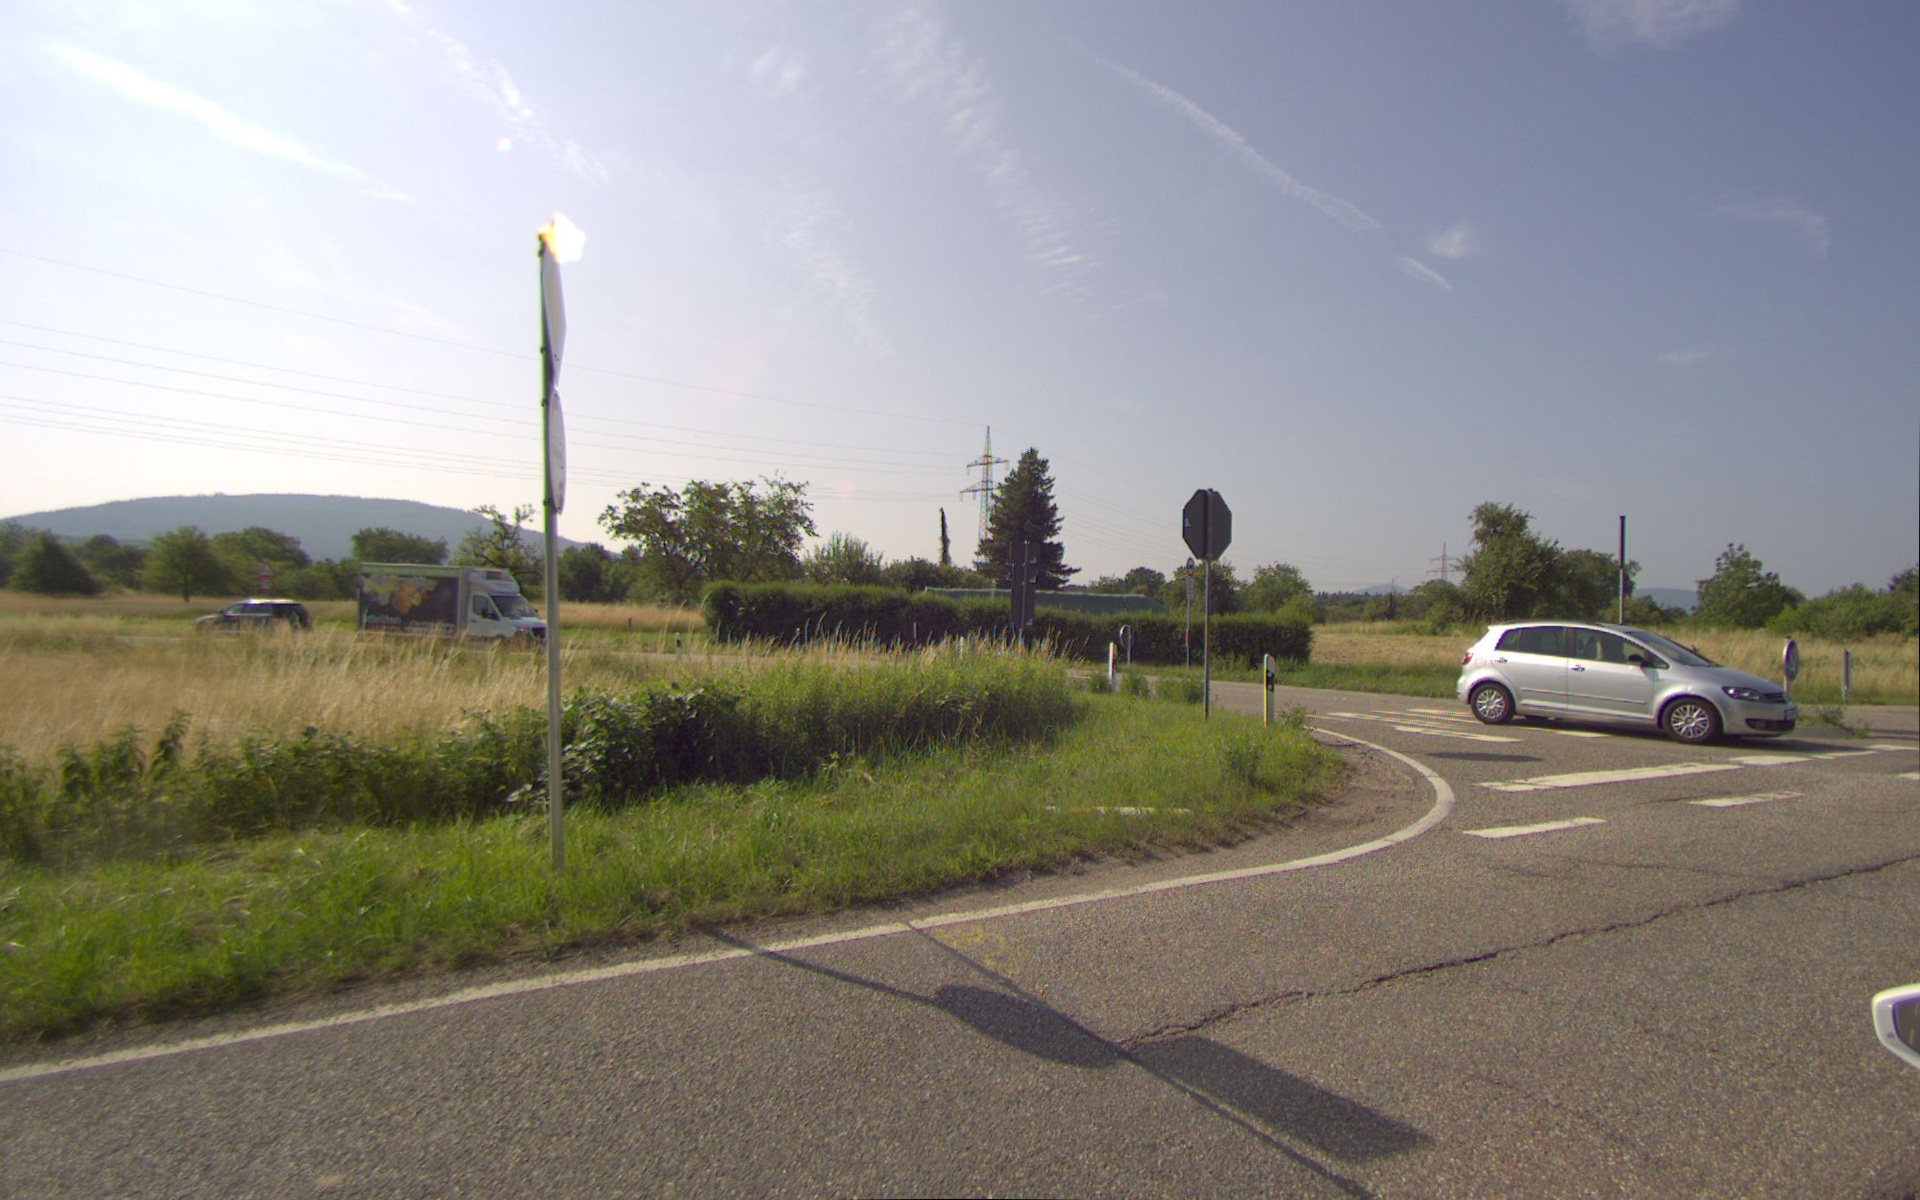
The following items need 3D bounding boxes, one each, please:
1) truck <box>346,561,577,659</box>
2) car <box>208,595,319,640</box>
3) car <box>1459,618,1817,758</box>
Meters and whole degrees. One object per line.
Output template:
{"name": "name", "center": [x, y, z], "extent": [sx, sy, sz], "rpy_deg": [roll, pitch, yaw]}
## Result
{"name": "truck", "center": [-17.310, 0.311, 34.956], "extent": [7.216, 3.086, 2.585], "rpy_deg": [2, 0, 15]}
{"name": "car", "center": [-28.573, 0.703, 41.211], "extent": [3.825, 1.660, 1.760], "rpy_deg": [2, 0, 18]}
{"name": "car", "center": [9.654, 1.142, 14.546], "extent": [1.982, 1.601, 3.867], "rpy_deg": [2, 0, -37]}
